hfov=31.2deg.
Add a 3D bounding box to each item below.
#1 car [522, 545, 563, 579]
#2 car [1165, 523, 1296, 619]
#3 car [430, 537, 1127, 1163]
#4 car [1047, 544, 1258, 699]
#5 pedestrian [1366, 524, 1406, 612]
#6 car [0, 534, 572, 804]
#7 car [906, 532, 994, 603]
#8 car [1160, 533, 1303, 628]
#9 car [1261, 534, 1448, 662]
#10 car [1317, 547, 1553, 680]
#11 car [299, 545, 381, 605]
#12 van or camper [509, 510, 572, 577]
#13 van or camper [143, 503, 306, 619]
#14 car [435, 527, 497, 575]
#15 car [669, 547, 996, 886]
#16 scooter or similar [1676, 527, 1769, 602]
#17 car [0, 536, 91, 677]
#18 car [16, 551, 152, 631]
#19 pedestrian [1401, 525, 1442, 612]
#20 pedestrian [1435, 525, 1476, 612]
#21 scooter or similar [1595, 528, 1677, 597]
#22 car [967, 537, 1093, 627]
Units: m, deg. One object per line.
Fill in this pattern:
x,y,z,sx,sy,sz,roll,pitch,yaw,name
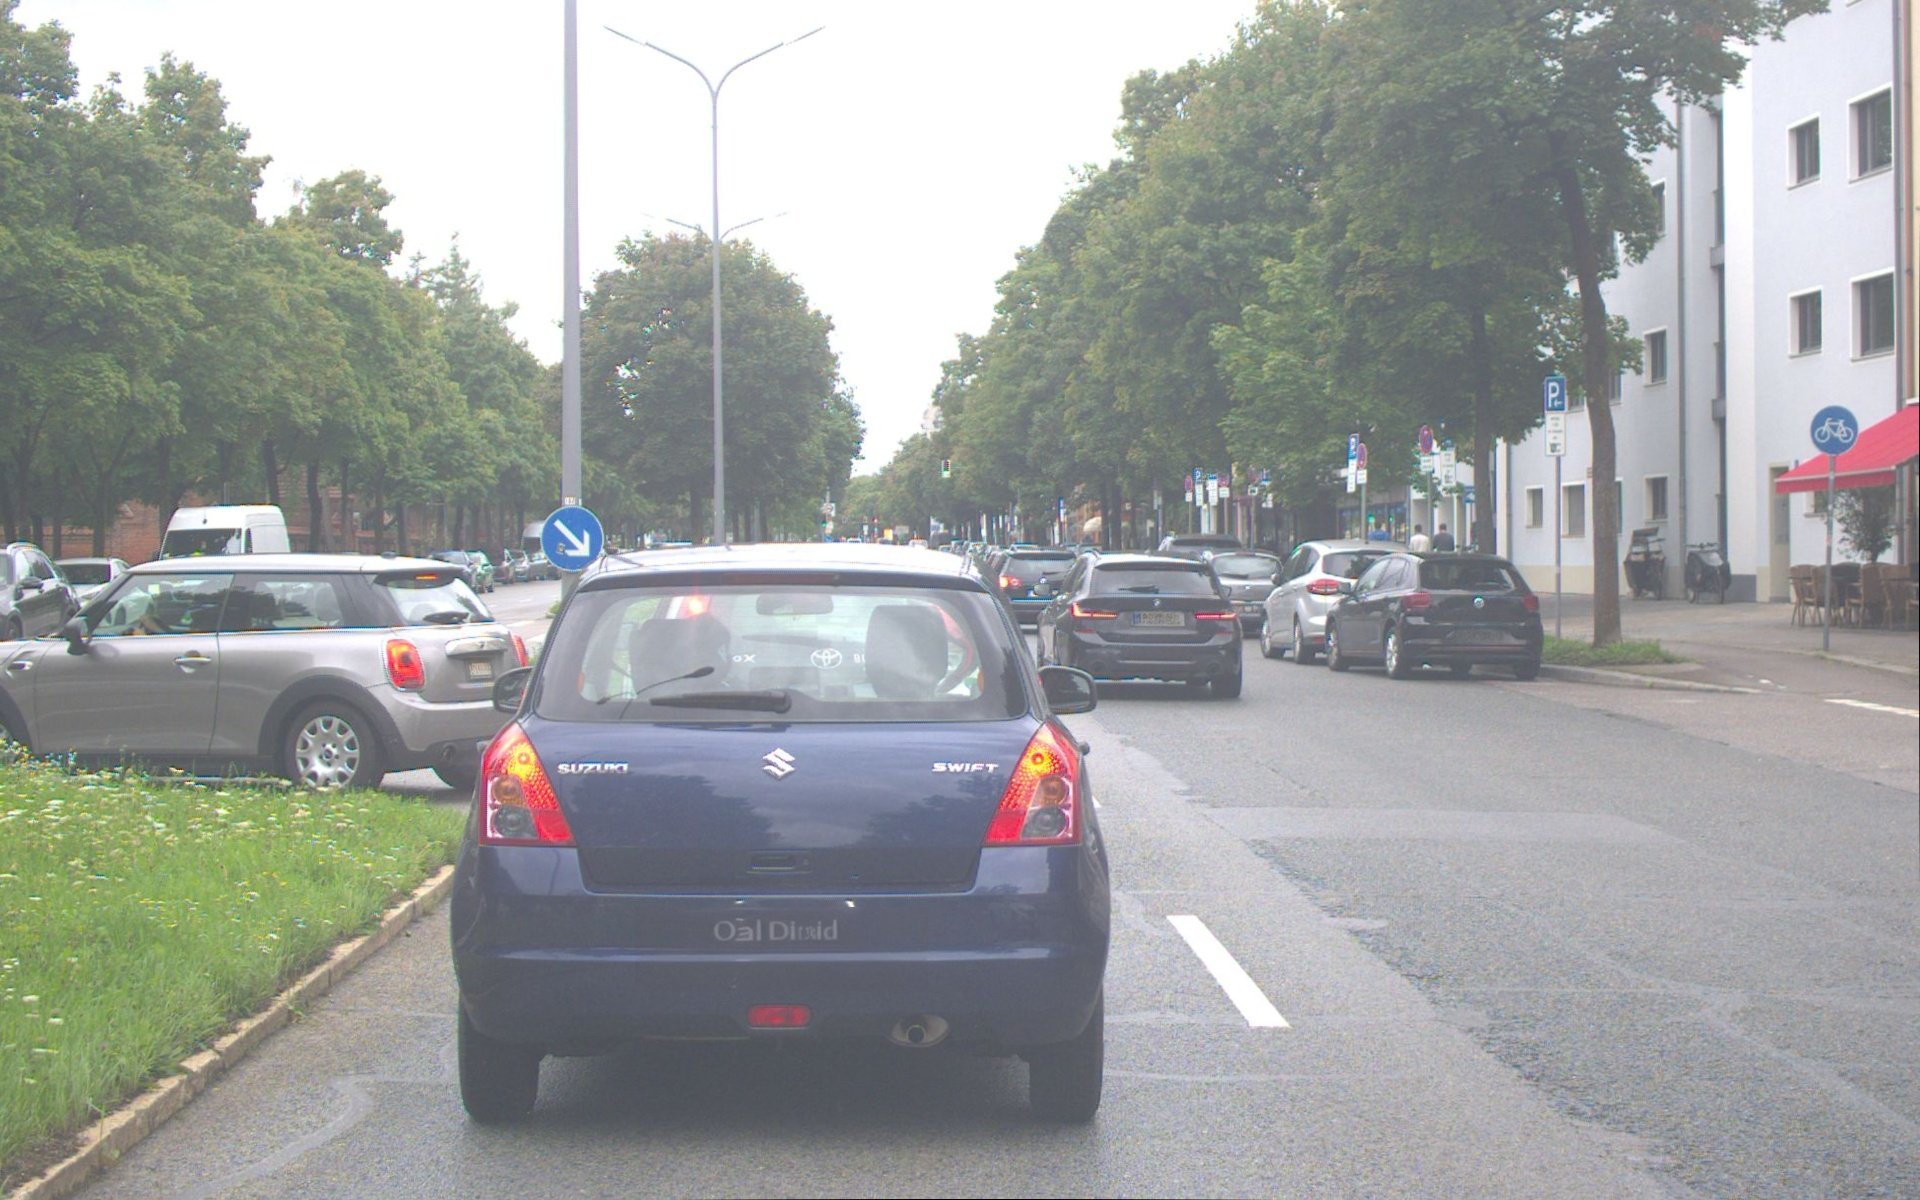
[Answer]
-20.320,-1.859,167.560,1.632,1.577,3.879,1,1,-2,car
4.917,-0.562,62.991,1.865,1.677,4.225,-1,1,-3,car
-0.516,0.569,10.278,1.682,1.496,3.919,0,1,-2,car
1.871,0.168,34.702,1.758,1.408,4.463,1,1,-1,car
9.870,-0.748,79.740,0.794,2.007,1.006,0,1,-1,pedestrian
-4.326,0.345,20.205,3.726,1.458,1.685,1,1,23,car
-0.236,-0.688,70.394,1.682,1.379,3.919,1,1,-2,car
4.550,-0.357,58.133,1.865,1.512,4.225,-1,1,-3,car
5.081,-0.062,44.784,1.791,1.553,4.225,-1,1,-2,car
5.471,0.117,40.108,1.865,1.412,4.225,-1,1,-4,car
-16.791,-0.685,93.241,1.632,1.577,3.879,1,1,-2,car
-21.251,-2.851,174.393,2.561,3.284,6.938,1,1,-2,van or camper
-16.547,-0.885,77.710,2.117,2.473,7.449,1,1,0,van or camper
-16.690,-1.670,116.260,1.632,1.577,3.879,1,1,-2,car
-0.624,0.490,16.735,1.444,1.478,3.107,0,1,-2,car
13.719,-0.649,61.912,1.033,1.303,2.755,0,1,0,scooter or similar
-11.921,0.064,41.540,1.766,1.618,4.507,-2,1,-2,car
-16.149,-0.184,63.538,1.632,1.426,3.879,1,1,-2,car
10.699,-0.739,79.748,0.794,2.007,1.006,0,1,-1,pedestrian
11.503,-0.732,79.855,0.794,2.007,1.006,0,1,-1,pedestrian
13.127,-0.742,66.854,1.033,1.303,2.755,0,1,0,scooter or similar
1.165,-0.336,59.102,1.731,1.427,4.443,1,1,-4,car
